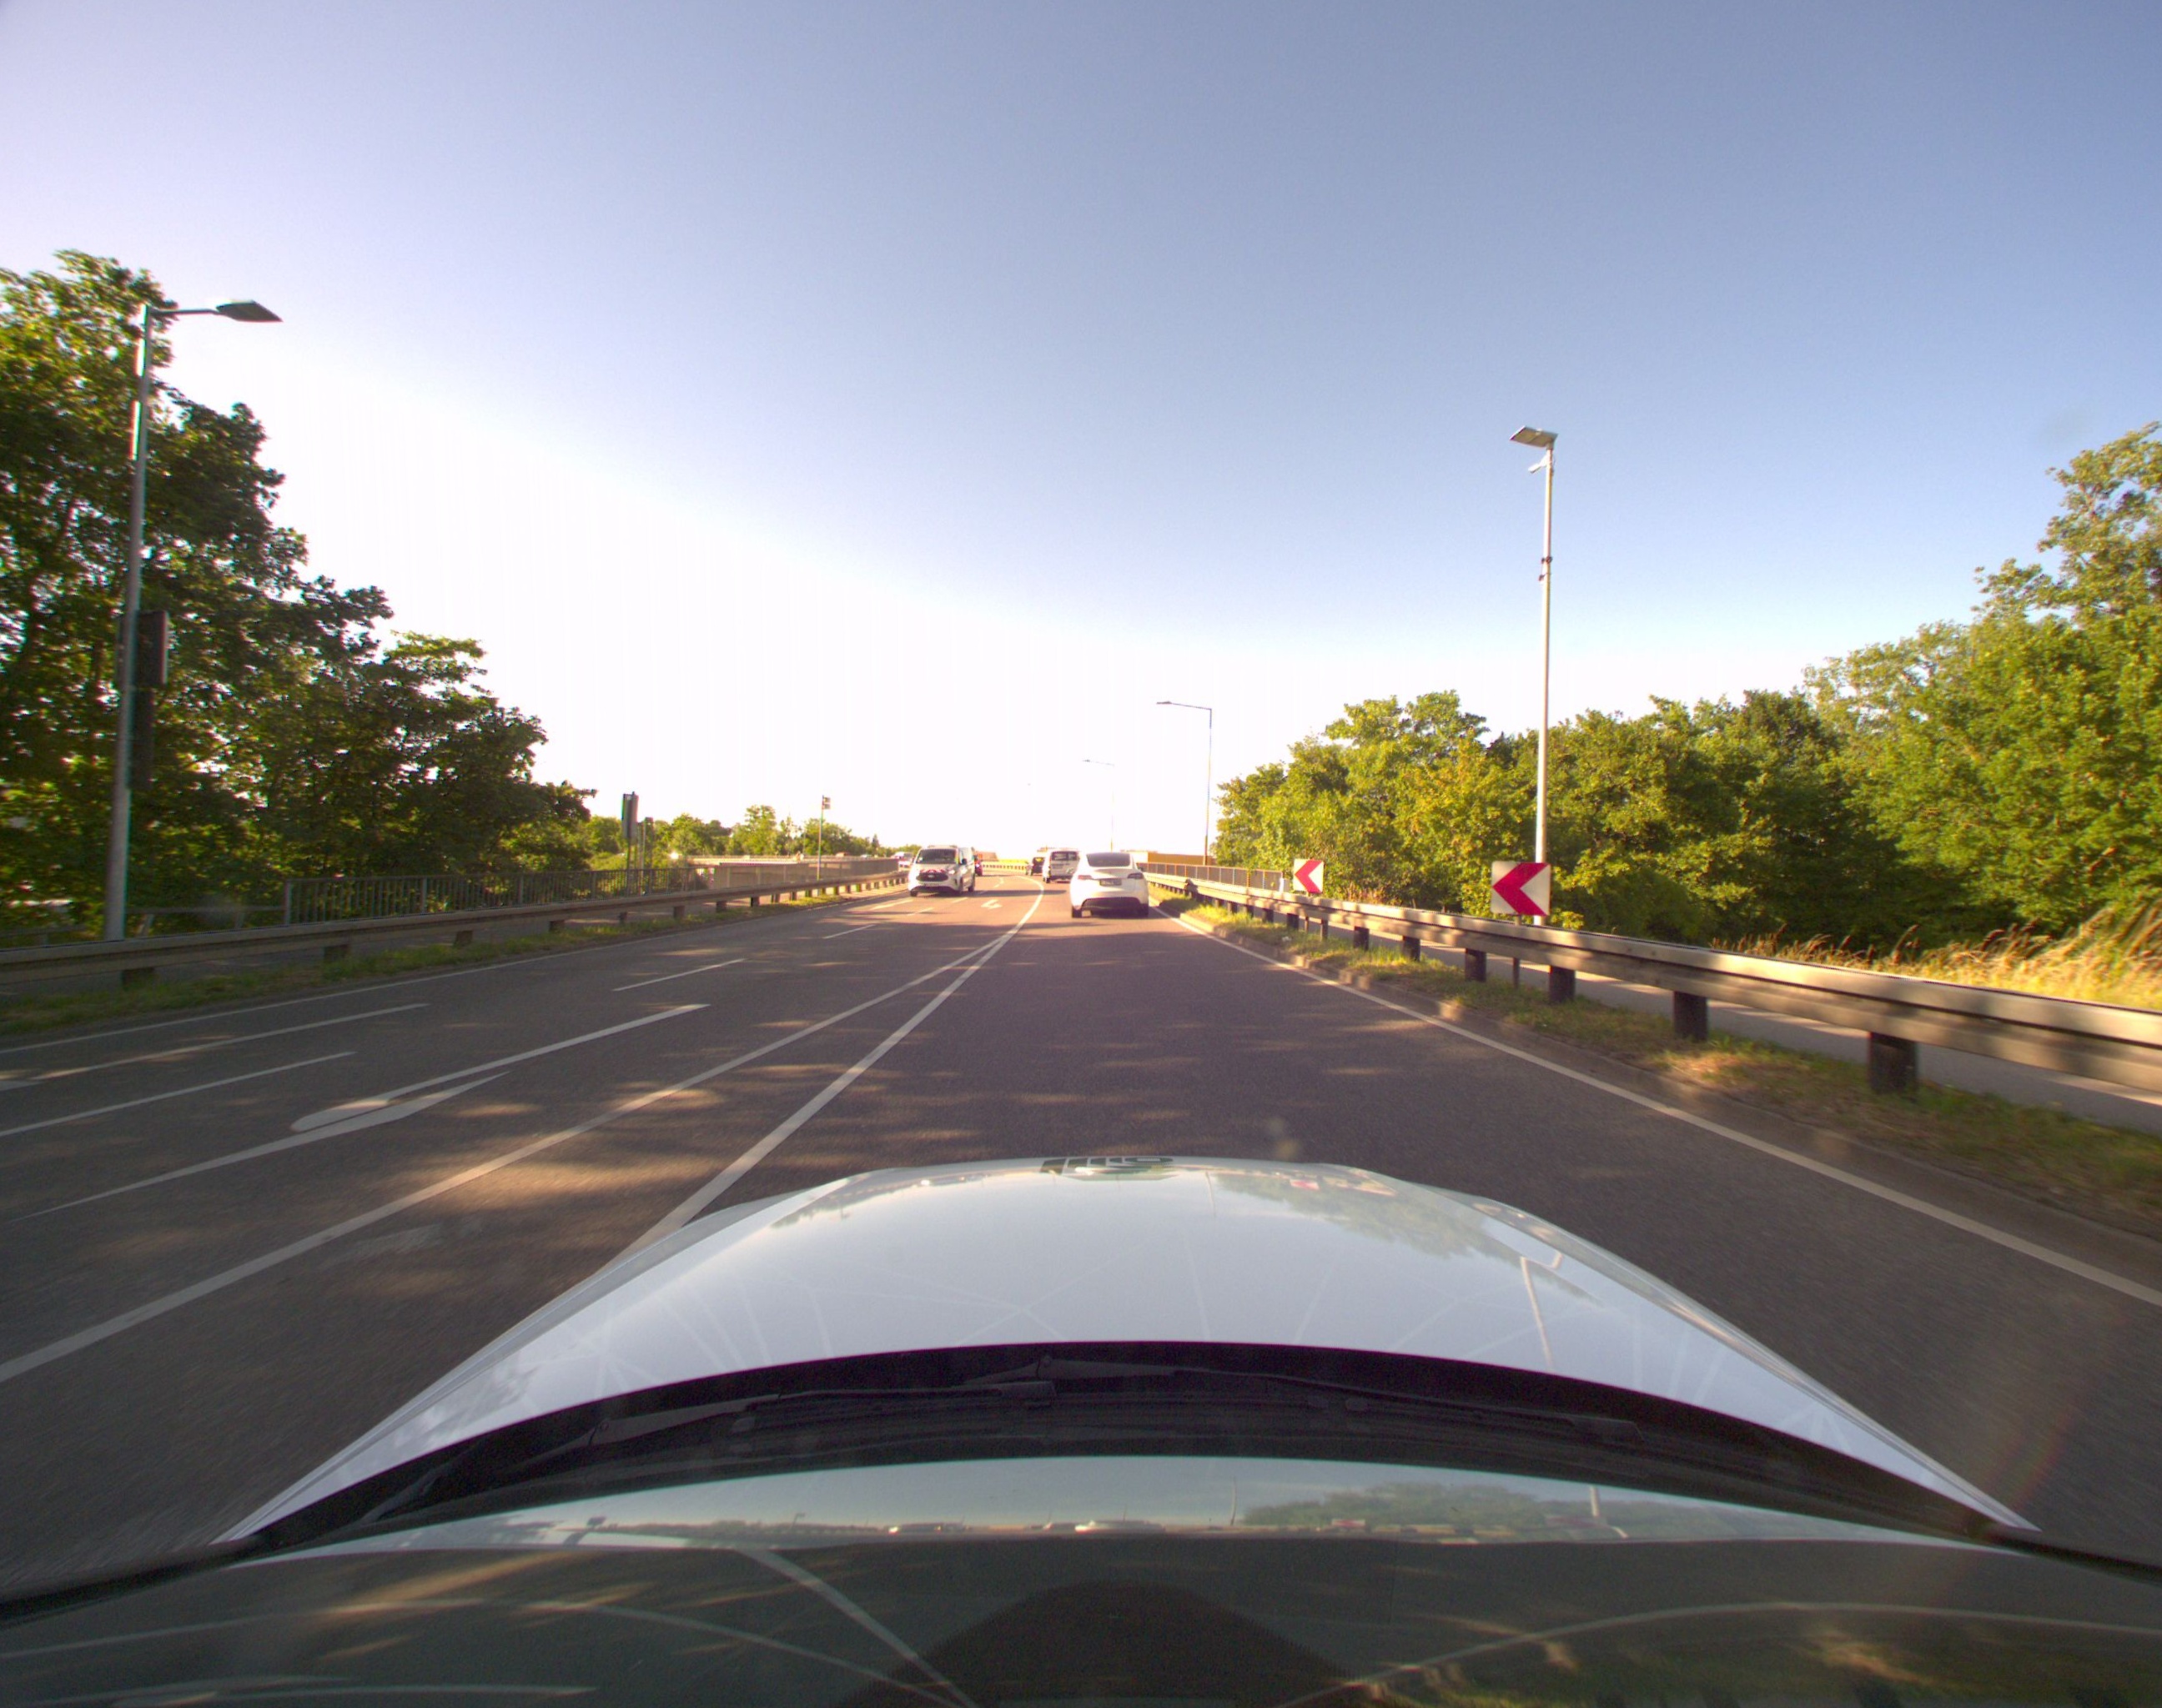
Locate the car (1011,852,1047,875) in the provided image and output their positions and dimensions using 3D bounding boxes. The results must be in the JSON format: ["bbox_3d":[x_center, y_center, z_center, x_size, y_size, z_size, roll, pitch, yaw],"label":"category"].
[{"bbox_3d":[-3.893,0.676,60.432,1.971,1.638,3.981,-1,0,-14],"label":"car"}]

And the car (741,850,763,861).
[{"bbox_3d":[-61.185,0.320,151.247,3.948,1.950,1.975,0,0,36],"label":"car"}]

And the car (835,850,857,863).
[{"bbox_3d":[-37.721,0.380,130.728,1.973,1.950,3.952,0,0,-42],"label":"car"}]

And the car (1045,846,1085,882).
[{"bbox_3d":[-0.947,0.519,45.694,2.002,1.940,4.459,0,0,-5],"label":"car"}]

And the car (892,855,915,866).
[{"bbox_3d":[-22.106,0.798,101.356,1.792,1.437,3.839,0,0,-29],"label":"car"}]

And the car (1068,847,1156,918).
[{"bbox_3d":[0.698,0.668,21.129,1.980,1.638,4.059,-1,0,-2],"label":"car"}]

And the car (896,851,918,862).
[{"bbox_3d":[-23.899,0.350,111.544,1.847,1.555,3.856,0,0,-30],"label":"car"}]

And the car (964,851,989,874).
[{"bbox_3d":[-7.721,0.622,60.211,1.803,1.638,3.990,0,0,-8],"label":"car"}]

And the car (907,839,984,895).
[{"bbox_3d":[-5.429,0.480,33.329,1.940,2.112,5.276,0,0,4],"label":"car"}]
